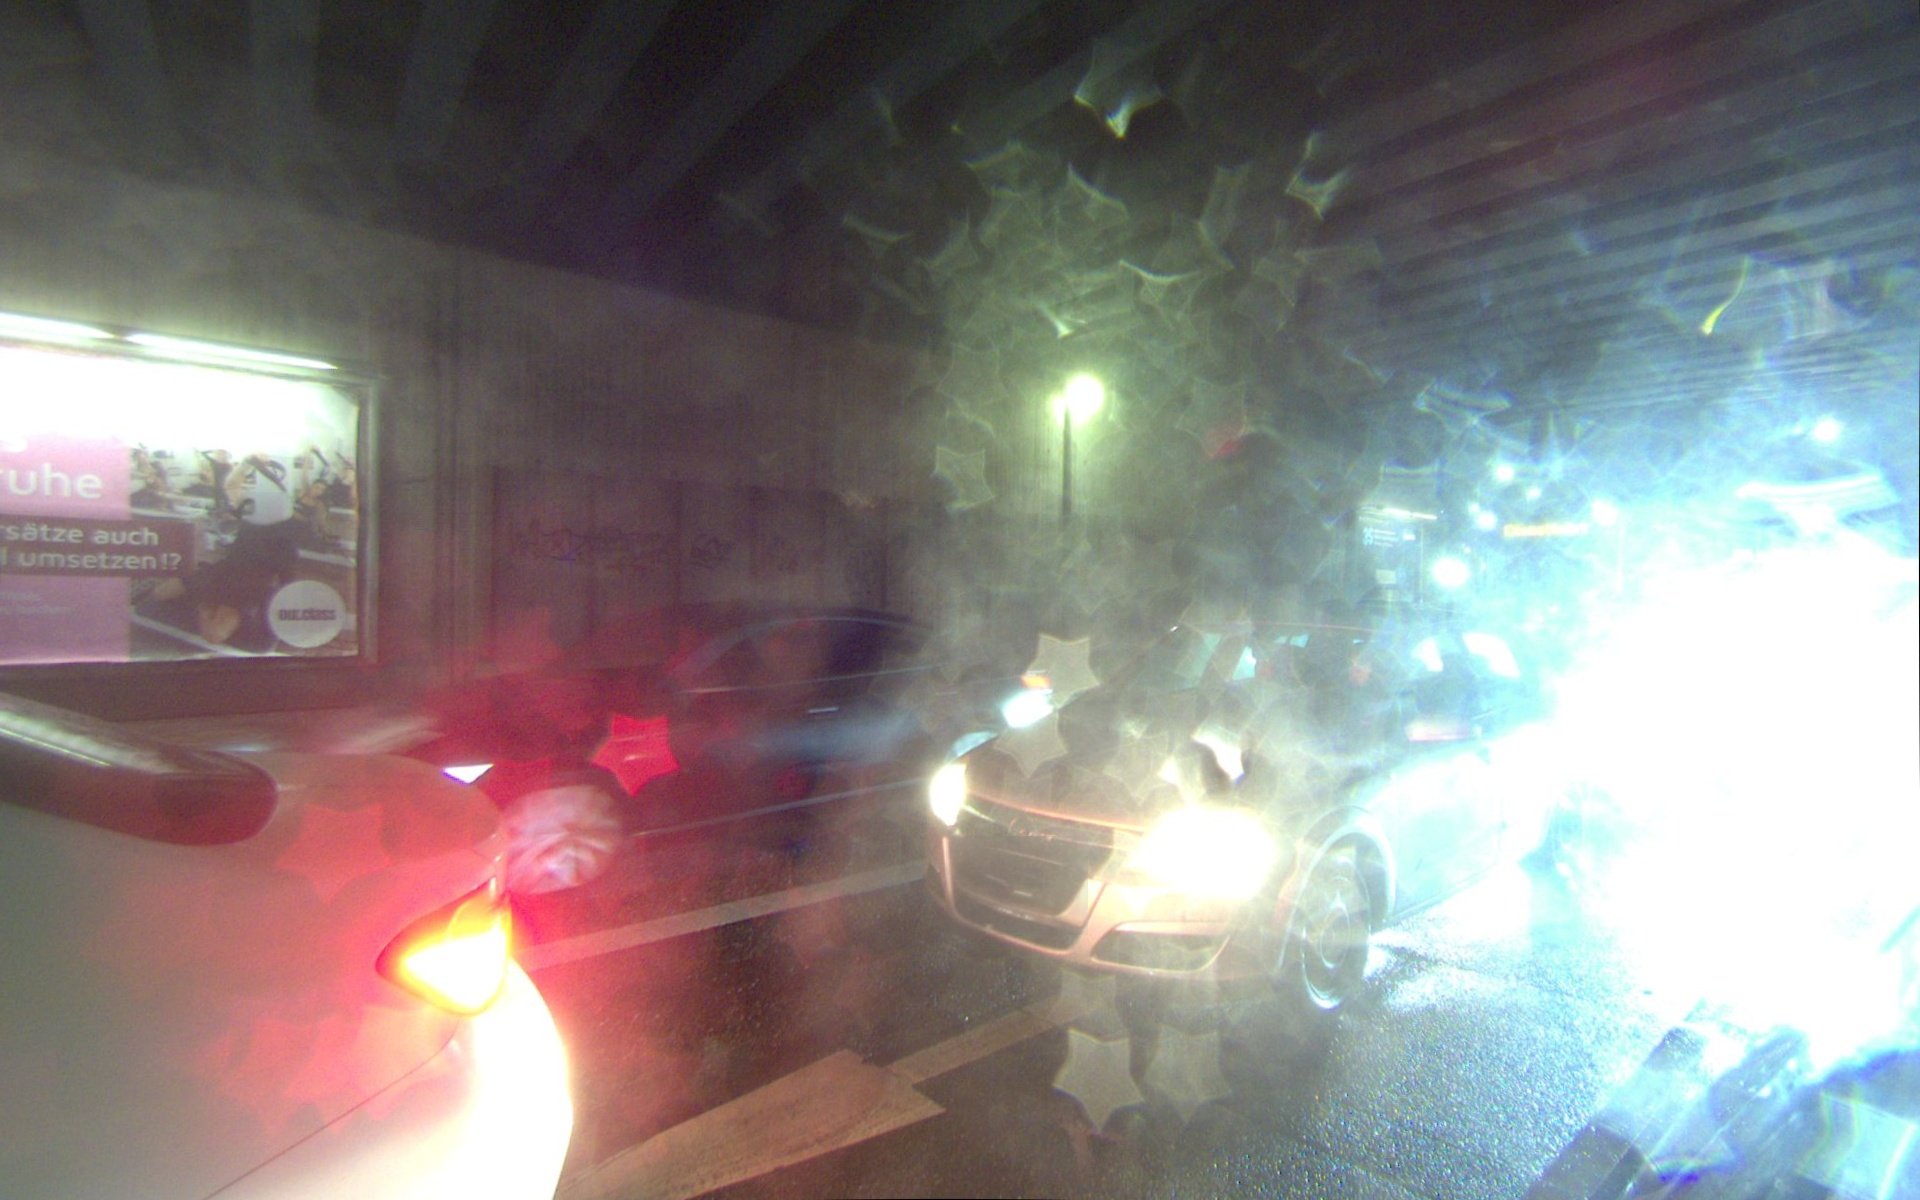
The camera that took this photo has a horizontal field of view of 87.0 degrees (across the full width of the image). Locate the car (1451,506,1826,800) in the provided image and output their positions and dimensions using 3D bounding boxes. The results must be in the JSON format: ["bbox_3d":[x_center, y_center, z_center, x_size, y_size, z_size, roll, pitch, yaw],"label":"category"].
[{"bbox_3d":[6.502,0.357,9.500,4.274,2.115,1.996,-1,0,-43],"label":"car"}]

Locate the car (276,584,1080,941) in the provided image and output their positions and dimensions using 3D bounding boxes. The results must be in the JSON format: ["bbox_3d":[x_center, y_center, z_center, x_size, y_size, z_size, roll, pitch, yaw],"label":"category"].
[{"bbox_3d":[-1.351,0.649,6.220,4.492,1.408,1.752,1,0,-45],"label":"car"}]

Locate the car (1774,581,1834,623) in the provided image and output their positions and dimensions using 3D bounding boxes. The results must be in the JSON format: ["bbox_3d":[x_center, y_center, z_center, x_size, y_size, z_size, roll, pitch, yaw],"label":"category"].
[{"bbox_3d":[33.537,0.053,40.281,1.735,1.610,3.944,0,0,39],"label":"car"}]

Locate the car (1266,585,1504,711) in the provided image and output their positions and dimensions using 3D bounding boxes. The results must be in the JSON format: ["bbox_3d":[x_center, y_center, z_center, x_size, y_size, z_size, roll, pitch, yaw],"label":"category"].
[{"bbox_3d":[5.884,0.551,13.815,1.751,1.449,3.700,2,1,44],"label":"car"}]

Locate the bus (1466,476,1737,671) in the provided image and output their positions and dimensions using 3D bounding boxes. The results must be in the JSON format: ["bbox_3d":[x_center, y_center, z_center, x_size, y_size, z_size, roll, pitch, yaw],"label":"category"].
[{"bbox_3d":[13.530,-0.427,20.821,2.770,3.163,9.604,0,0,45],"label":"bus"}]

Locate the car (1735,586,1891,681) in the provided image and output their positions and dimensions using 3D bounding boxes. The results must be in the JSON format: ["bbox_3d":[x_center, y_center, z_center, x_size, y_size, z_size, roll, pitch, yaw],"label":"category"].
[{"bbox_3d":[15.415,0.525,18.218,3.931,1.522,1.627,-1,0,-42],"label":"car"}]

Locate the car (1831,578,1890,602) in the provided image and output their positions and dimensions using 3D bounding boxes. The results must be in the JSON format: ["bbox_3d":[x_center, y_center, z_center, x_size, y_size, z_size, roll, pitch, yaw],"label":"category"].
[{"bbox_3d":[64.373,-0.718,72.442,1.802,1.625,4.114,0,0,21],"label":"car"}]

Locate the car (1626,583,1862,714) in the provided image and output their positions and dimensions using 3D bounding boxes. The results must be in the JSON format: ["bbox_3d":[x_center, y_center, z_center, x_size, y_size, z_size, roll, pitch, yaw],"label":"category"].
[{"bbox_3d":[10.767,0.547,13.823,3.701,1.531,1.867,-1,0,-41],"label":"car"}]

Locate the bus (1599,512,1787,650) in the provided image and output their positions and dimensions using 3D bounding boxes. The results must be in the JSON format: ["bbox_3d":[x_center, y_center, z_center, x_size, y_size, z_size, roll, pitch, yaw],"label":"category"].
[{"bbox_3d":[20.273,-0.429,27.668,2.770,3.163,9.604,0,0,45],"label":"bus"}]

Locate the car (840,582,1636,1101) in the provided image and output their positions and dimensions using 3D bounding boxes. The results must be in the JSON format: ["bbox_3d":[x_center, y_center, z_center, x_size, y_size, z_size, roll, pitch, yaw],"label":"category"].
[{"bbox_3d":[1.571,0.648,4.817,3.931,1.384,1.791,-2,2,-41],"label":"car"}]

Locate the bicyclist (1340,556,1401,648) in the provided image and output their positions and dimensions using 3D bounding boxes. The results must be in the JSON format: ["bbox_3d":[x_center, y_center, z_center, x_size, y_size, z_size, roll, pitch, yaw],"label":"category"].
[{"bbox_3d":[8.150,0.030,20.087,0.885,1.784,0.798,0,0,-41],"label":"bicyclist"}]

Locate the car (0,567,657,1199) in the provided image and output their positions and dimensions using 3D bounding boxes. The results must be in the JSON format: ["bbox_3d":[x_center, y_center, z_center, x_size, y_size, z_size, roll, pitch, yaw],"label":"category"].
[{"bbox_3d":[-2.687,0.683,0.993,4.273,1.422,1.719,-1,0,-41],"label":"car"}]

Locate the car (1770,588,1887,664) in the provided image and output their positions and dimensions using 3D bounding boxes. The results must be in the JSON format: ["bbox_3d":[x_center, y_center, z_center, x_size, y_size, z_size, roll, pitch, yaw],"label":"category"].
[{"bbox_3d":[18.914,0.492,21.988,1.679,1.490,3.936,0,0,44],"label":"car"}]
